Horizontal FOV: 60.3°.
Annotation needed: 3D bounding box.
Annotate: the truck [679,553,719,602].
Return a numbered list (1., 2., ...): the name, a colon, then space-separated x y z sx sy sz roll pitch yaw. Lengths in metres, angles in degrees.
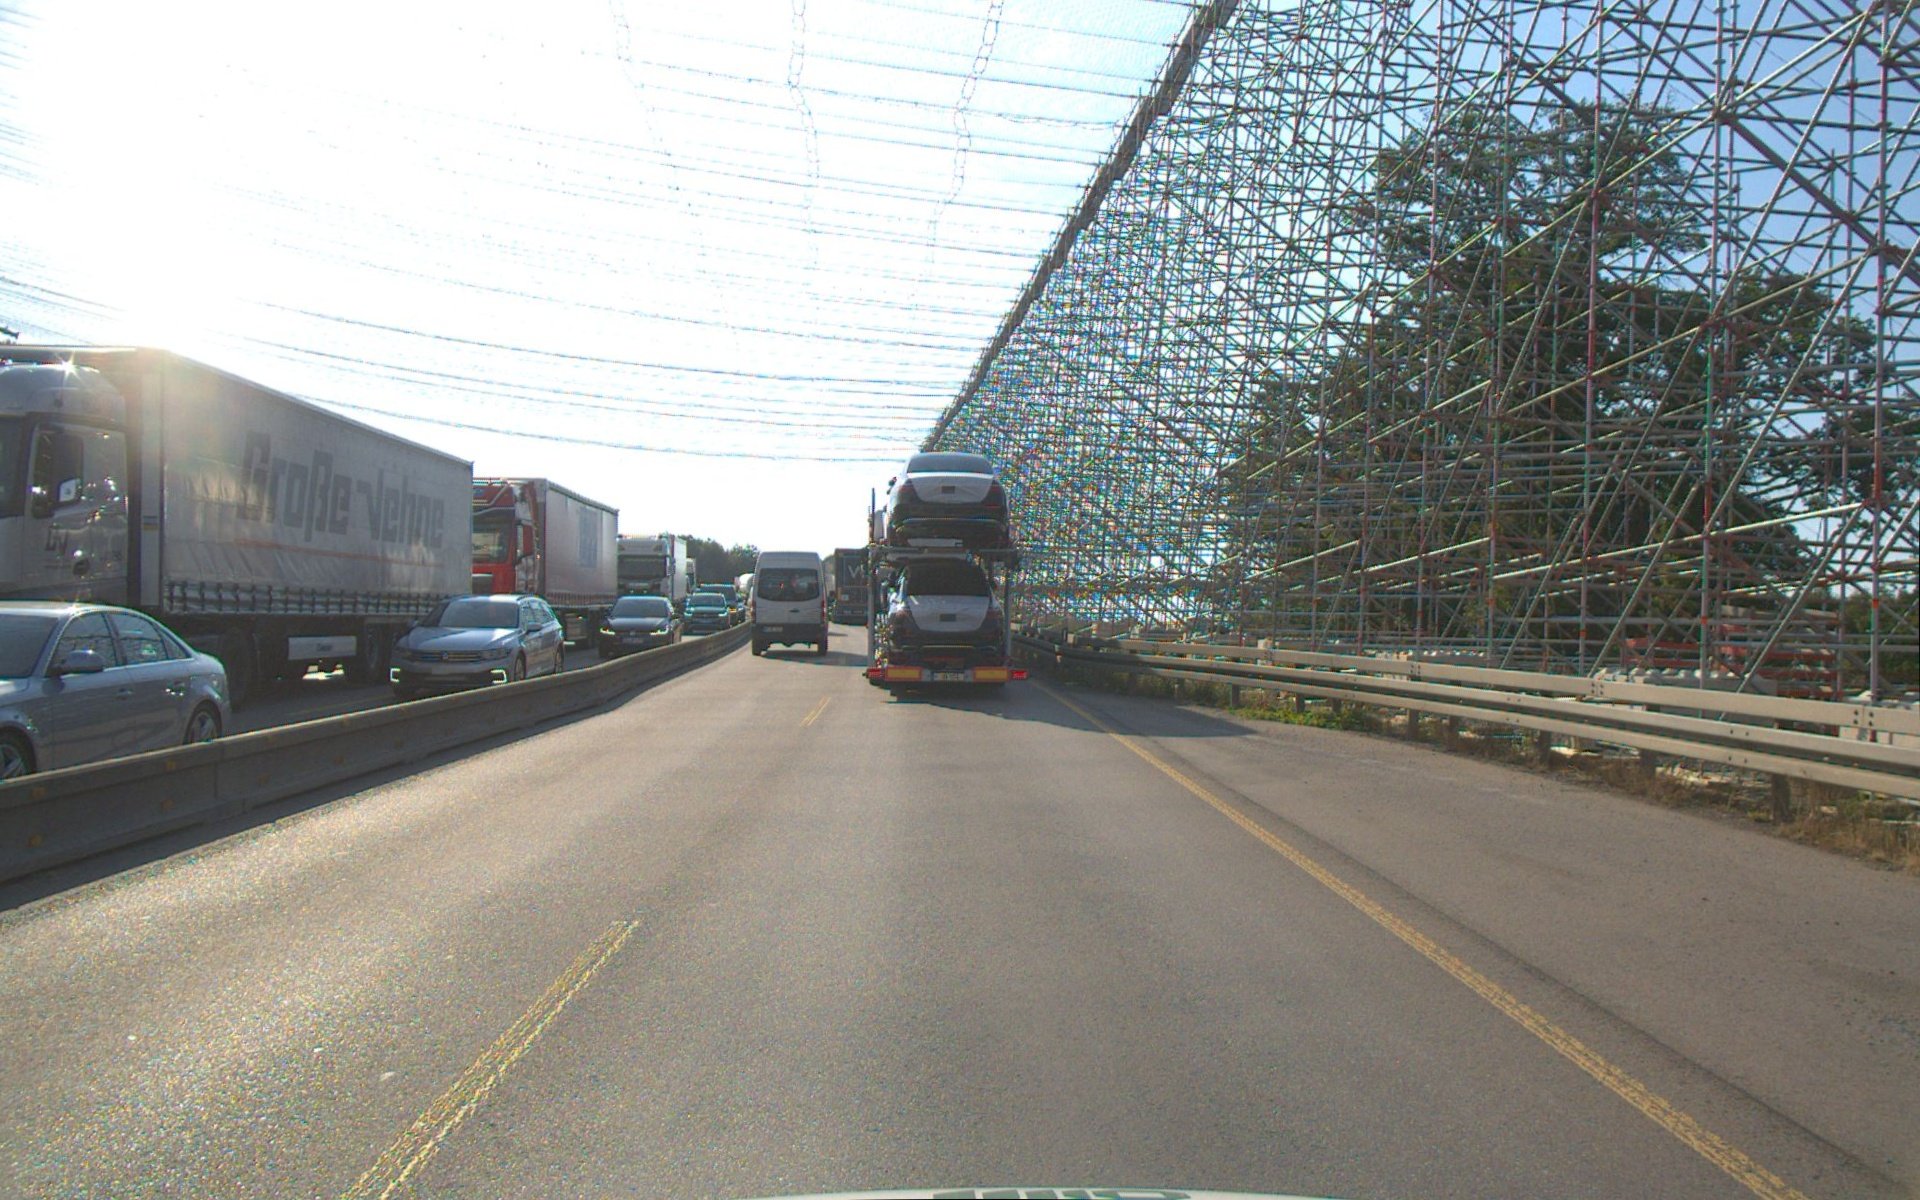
1. truck: -20.496 -1.728 129.545 2.548 3.534 12.358 2 0 -11

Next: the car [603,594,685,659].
1. car: -7.744 0.616 40.830 1.619 1.489 4.394 2 0 -7

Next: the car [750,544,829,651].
1. car: -4.428 -0.045 43.541 1.918 2.667 3.996 0 -1 -4

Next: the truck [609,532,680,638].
1. truck: -13.431 -0.607 70.721 2.612 4.304 6.094 0 0 -8

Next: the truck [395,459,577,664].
1. truck: -10.536 -0.768 37.432 2.733 4.214 6.671 0 0 -5

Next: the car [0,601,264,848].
1. car: -6.544 0.739 11.165 1.696 1.401 4.889 2 0 -2

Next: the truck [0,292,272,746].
1. truck: -10.112 -0.742 18.239 2.731 4.214 5.930 0 0 -2

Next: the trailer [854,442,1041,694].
1. trailer: -0.463 -0.437 32.487 2.811 3.790 14.940 0 0 -2

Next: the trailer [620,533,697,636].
1. trailer: -13.979 -0.686 77.645 2.603 4.307 13.898 2 0 -7

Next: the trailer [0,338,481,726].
1. trailer: -10.377 -0.704 24.957 2.743 4.214 13.959 0 0 -2

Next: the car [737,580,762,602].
1. car: -16.991 -0.713 133.351 1.681 1.646 3.492 0 0 -12

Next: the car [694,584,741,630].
1. car: -11.017 0.306 75.501 1.838 1.969 4.856 1 0 -6

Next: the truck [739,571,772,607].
1. truck: -22.630 -1.256 182.491 2.571 3.788 9.627 2 0 -13

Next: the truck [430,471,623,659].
1. truck: -11.153 -0.741 44.095 2.733 4.214 13.791 0 0 -5

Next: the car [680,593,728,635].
1. car: -9.958 0.531 64.578 1.710 1.561 4.260 1 0 -8

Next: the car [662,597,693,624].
1. car: -16.863 0.613 98.782 1.604 1.512 3.993 2 0 -7

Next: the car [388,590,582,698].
1. car: -7.233 0.619 25.690 1.697 1.464 4.836 2 0 -2

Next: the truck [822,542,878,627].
1. truck: -6.375 -0.868 94.443 2.679 4.462 11.507 1 0 -6

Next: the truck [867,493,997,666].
1. truck: -0.771 -0.419 39.875 2.824 3.767 7.321 0 0 -3

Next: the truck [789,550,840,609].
1. truck: -11.520 -1.583 131.489 3.615 4.294 13.654 -2 0 -5
